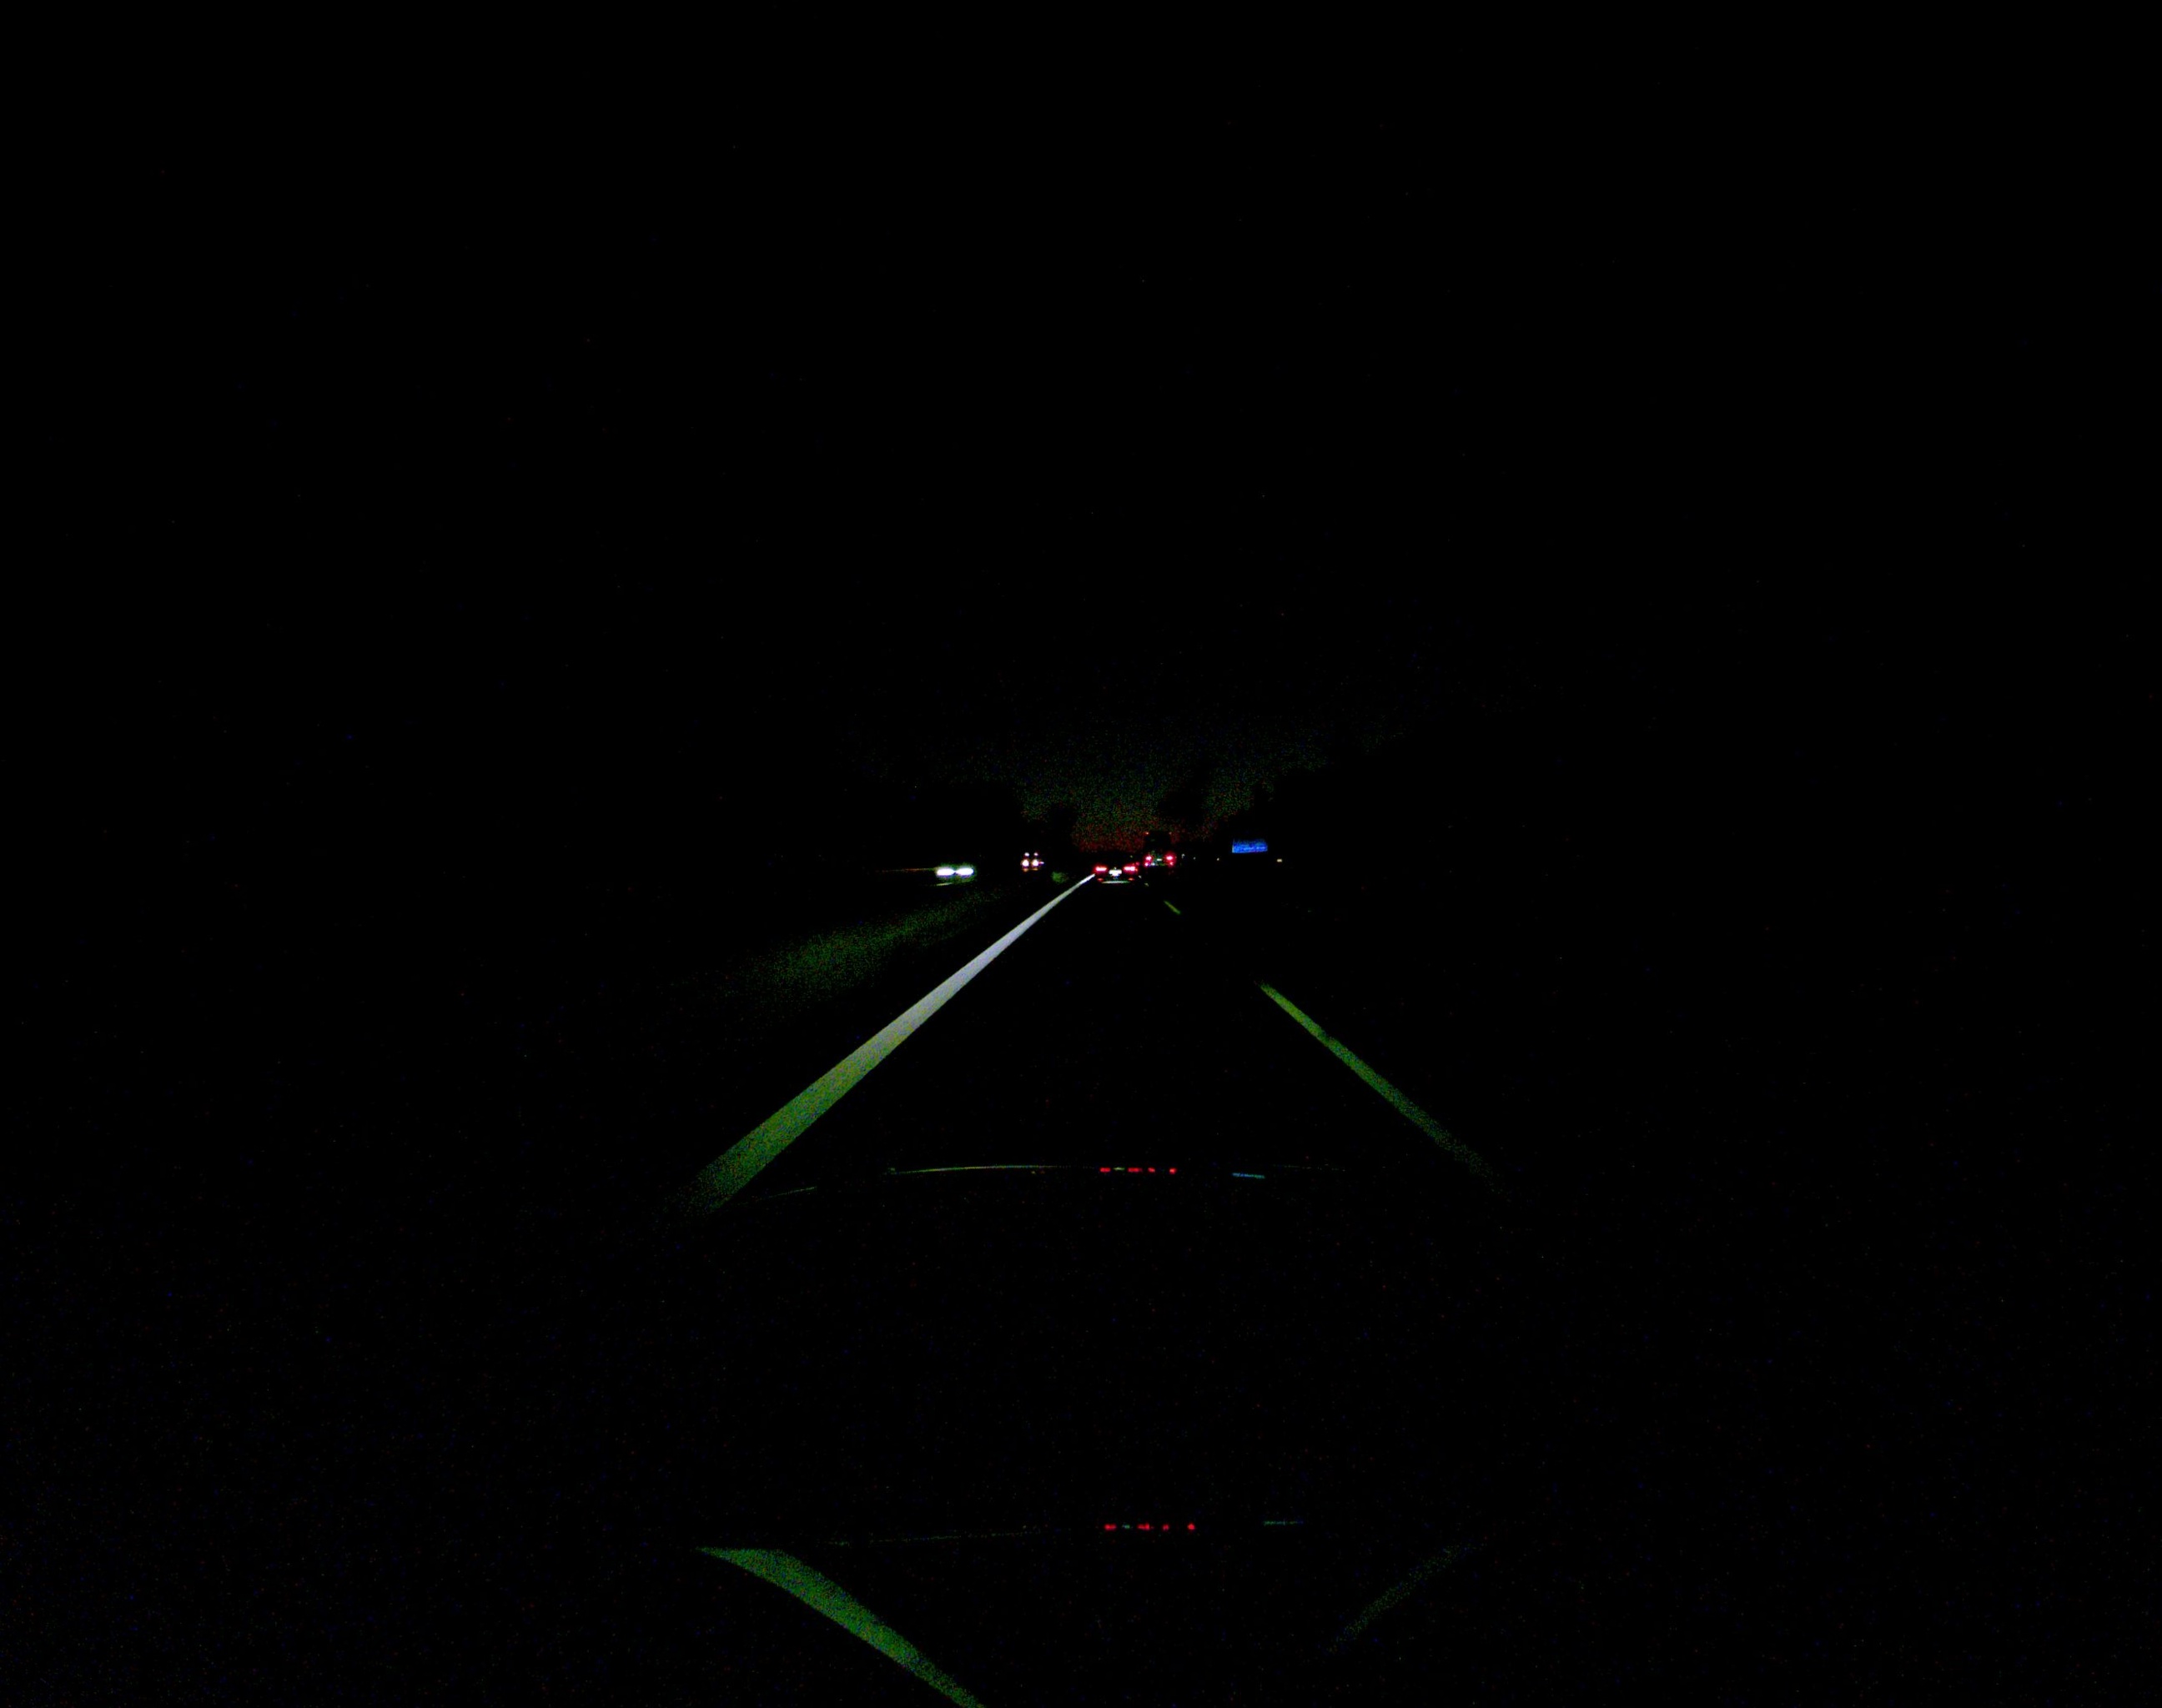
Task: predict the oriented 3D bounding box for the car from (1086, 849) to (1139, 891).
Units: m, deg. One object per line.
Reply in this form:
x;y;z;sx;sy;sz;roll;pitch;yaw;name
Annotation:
1.380;0.720;35.847;2.098;1.618;4.206;-3;-2;2;car

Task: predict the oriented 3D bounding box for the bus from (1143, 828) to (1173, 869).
8.385;-0.418;90.104;2.641;3.994;14.714;-3;-1;4;bus

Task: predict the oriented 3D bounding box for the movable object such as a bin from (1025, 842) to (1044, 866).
-7.736;-0.004;136.577;2.283;3.769;7.693;-1;0;3;movable object such as a bin

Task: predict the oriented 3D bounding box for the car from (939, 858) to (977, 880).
-8.756;1.064;58.314;1.926;1.453;4.455;-1;0;2;car

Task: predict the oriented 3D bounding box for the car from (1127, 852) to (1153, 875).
4.806;0.799;66.840;1.904;1.730;4.000;2;-1;1;car
